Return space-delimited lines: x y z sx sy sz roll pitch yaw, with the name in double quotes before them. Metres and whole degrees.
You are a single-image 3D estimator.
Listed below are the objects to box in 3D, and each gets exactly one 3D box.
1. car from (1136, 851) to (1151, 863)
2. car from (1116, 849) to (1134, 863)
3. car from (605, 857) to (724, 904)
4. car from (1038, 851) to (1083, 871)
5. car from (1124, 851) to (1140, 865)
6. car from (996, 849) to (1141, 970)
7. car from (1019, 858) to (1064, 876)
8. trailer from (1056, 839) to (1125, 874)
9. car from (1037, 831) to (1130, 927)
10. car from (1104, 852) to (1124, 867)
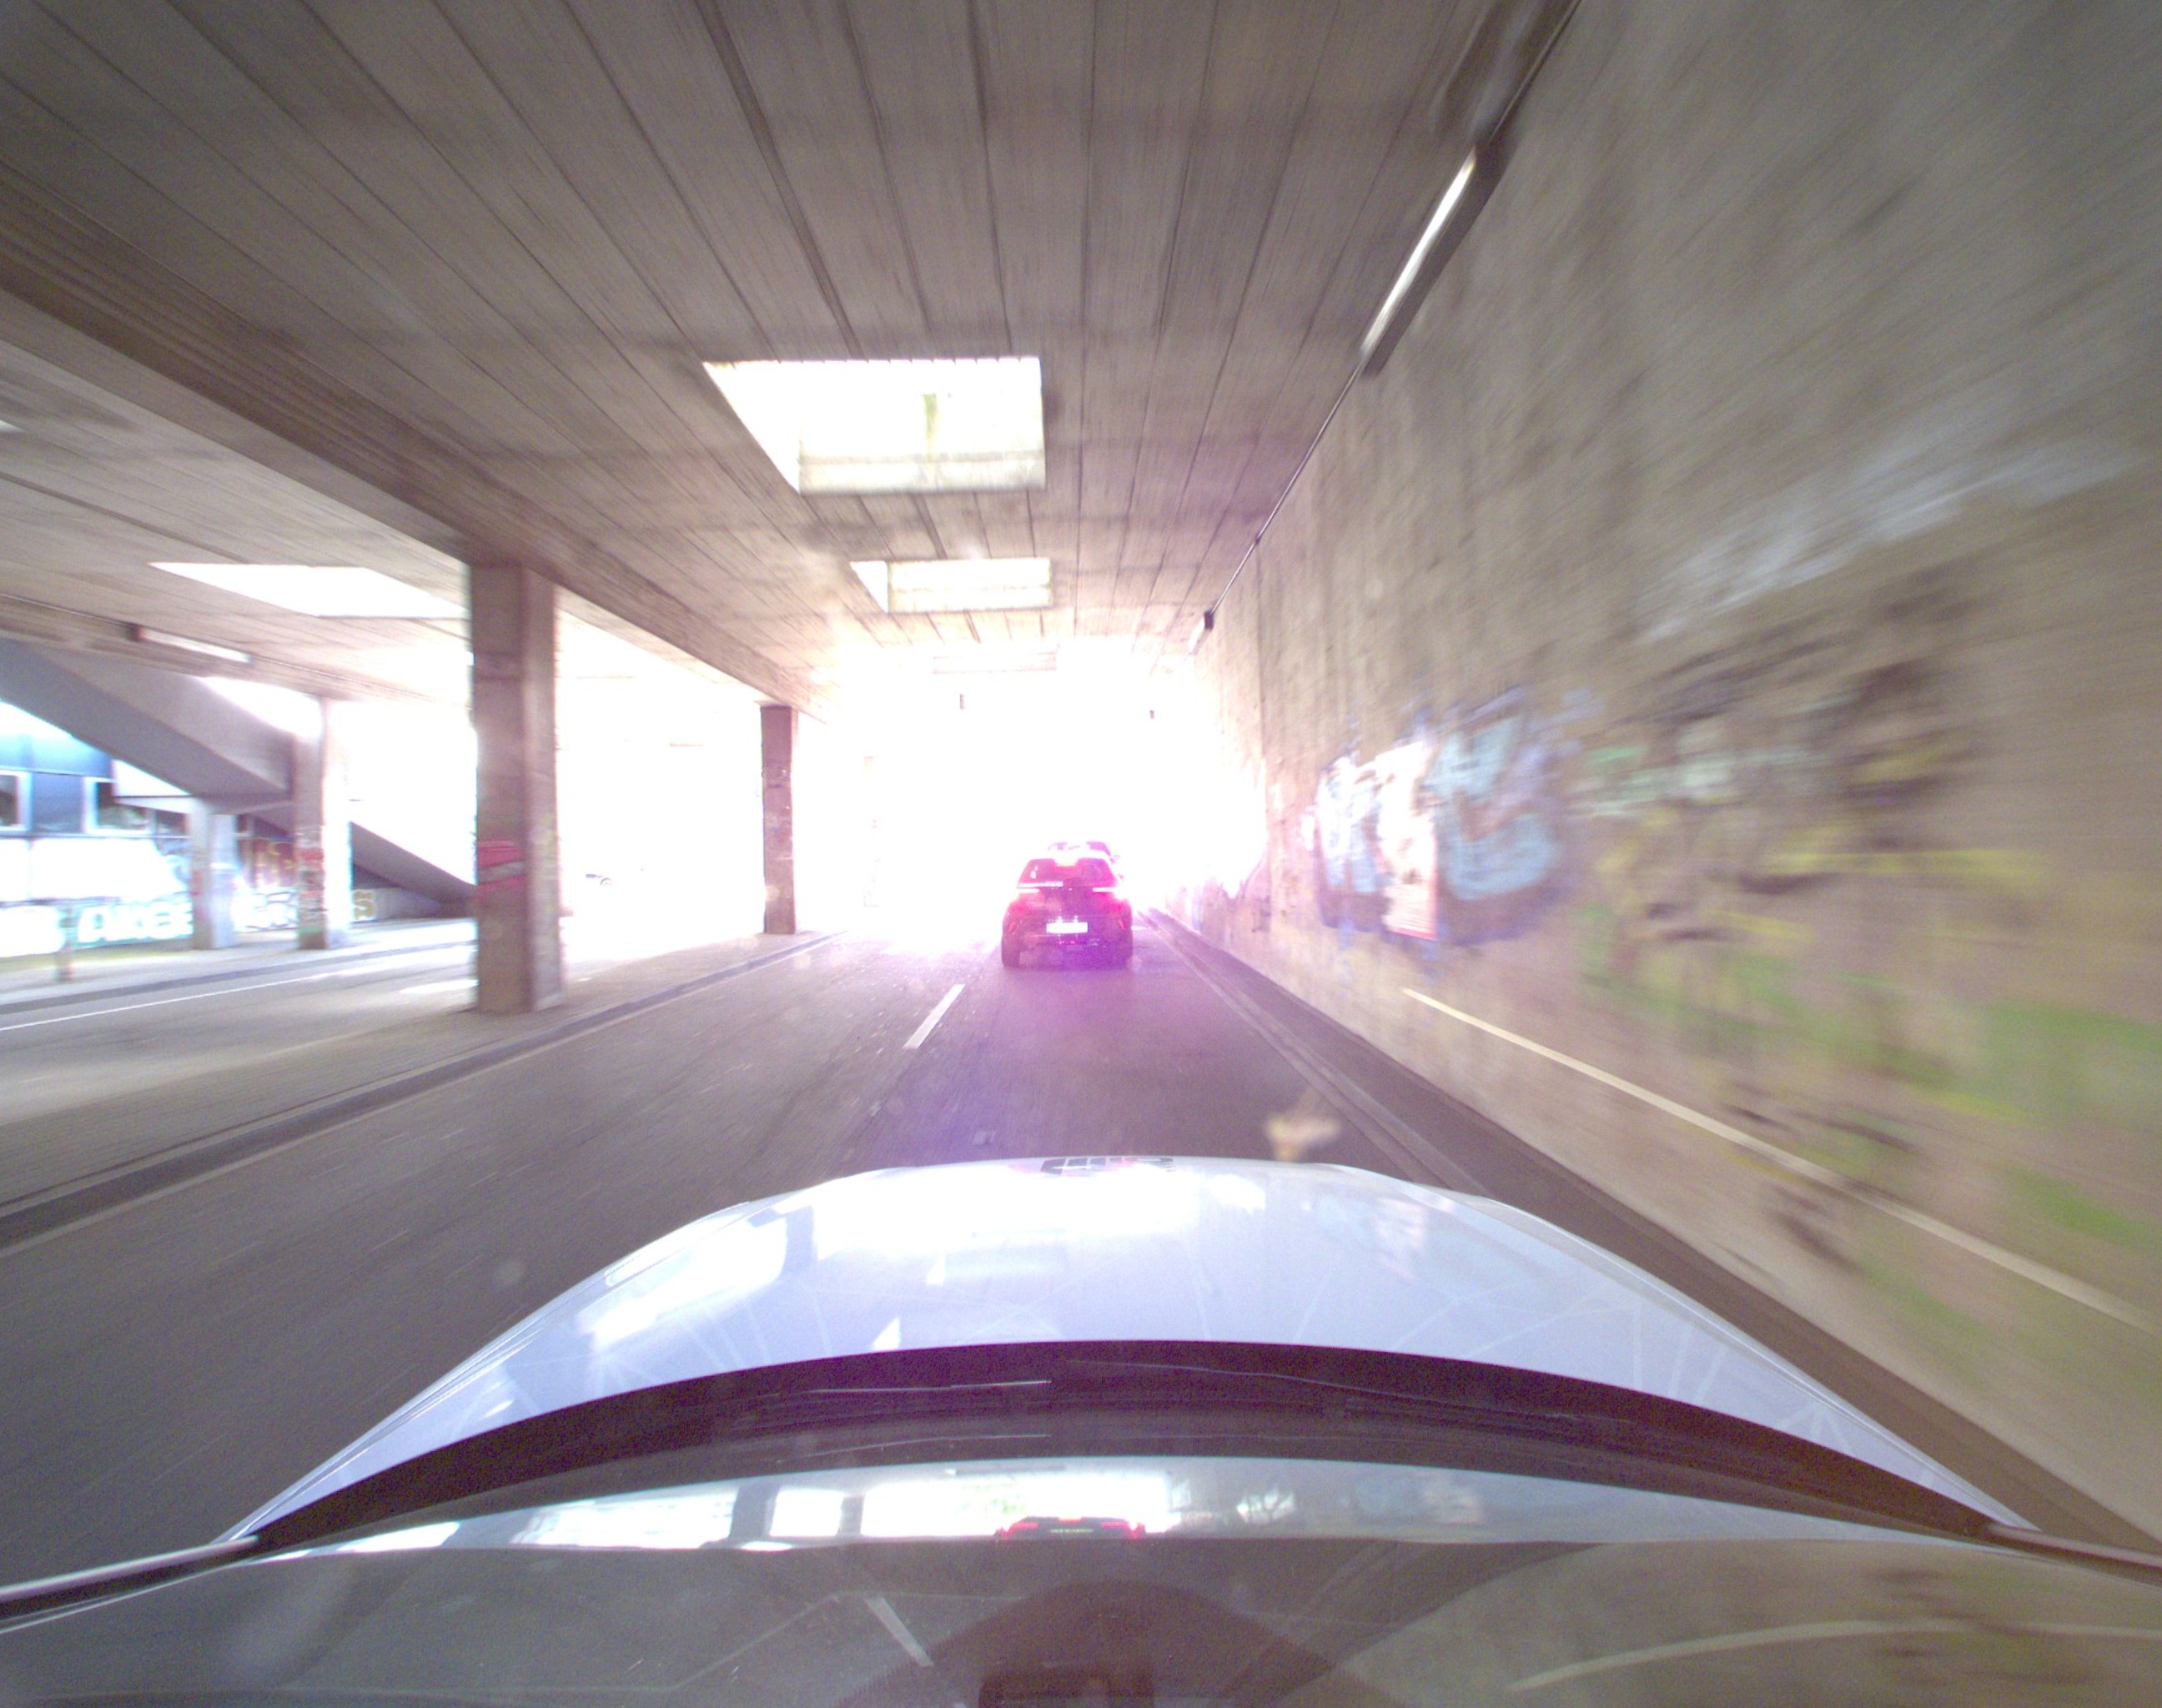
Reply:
"car" 11.121 0.452 144.530 1.980 2.013 4.282 -2 0 12
"car" 6.613 0.296 121.423 1.980 2.013 4.282 -2 0 12
"car" -19.470 1.223 38.258 4.467 2.013 1.999 -1 2 -2
"car" -1.964 0.667 79.260 4.130 1.739 2.003 -2 0 6
"car" 8.205 0.635 130.445 1.980 2.013 4.282 -2 0 12
"car" -0.165 0.695 12.452 1.820 1.501 4.210 -1 0 0
"car" -3.617 1.155 74.632 3.970 1.574 1.641 -1 0 2
"trailer" 0.605 0.140 49.270 3.969 2.013 2.002 -2 0 3
"car" 0.009 0.490 18.597 1.810 1.882 4.583 -2 0 -1
"car" 4.483 0.743 111.171 1.980 2.013 4.282 -2 0 12
